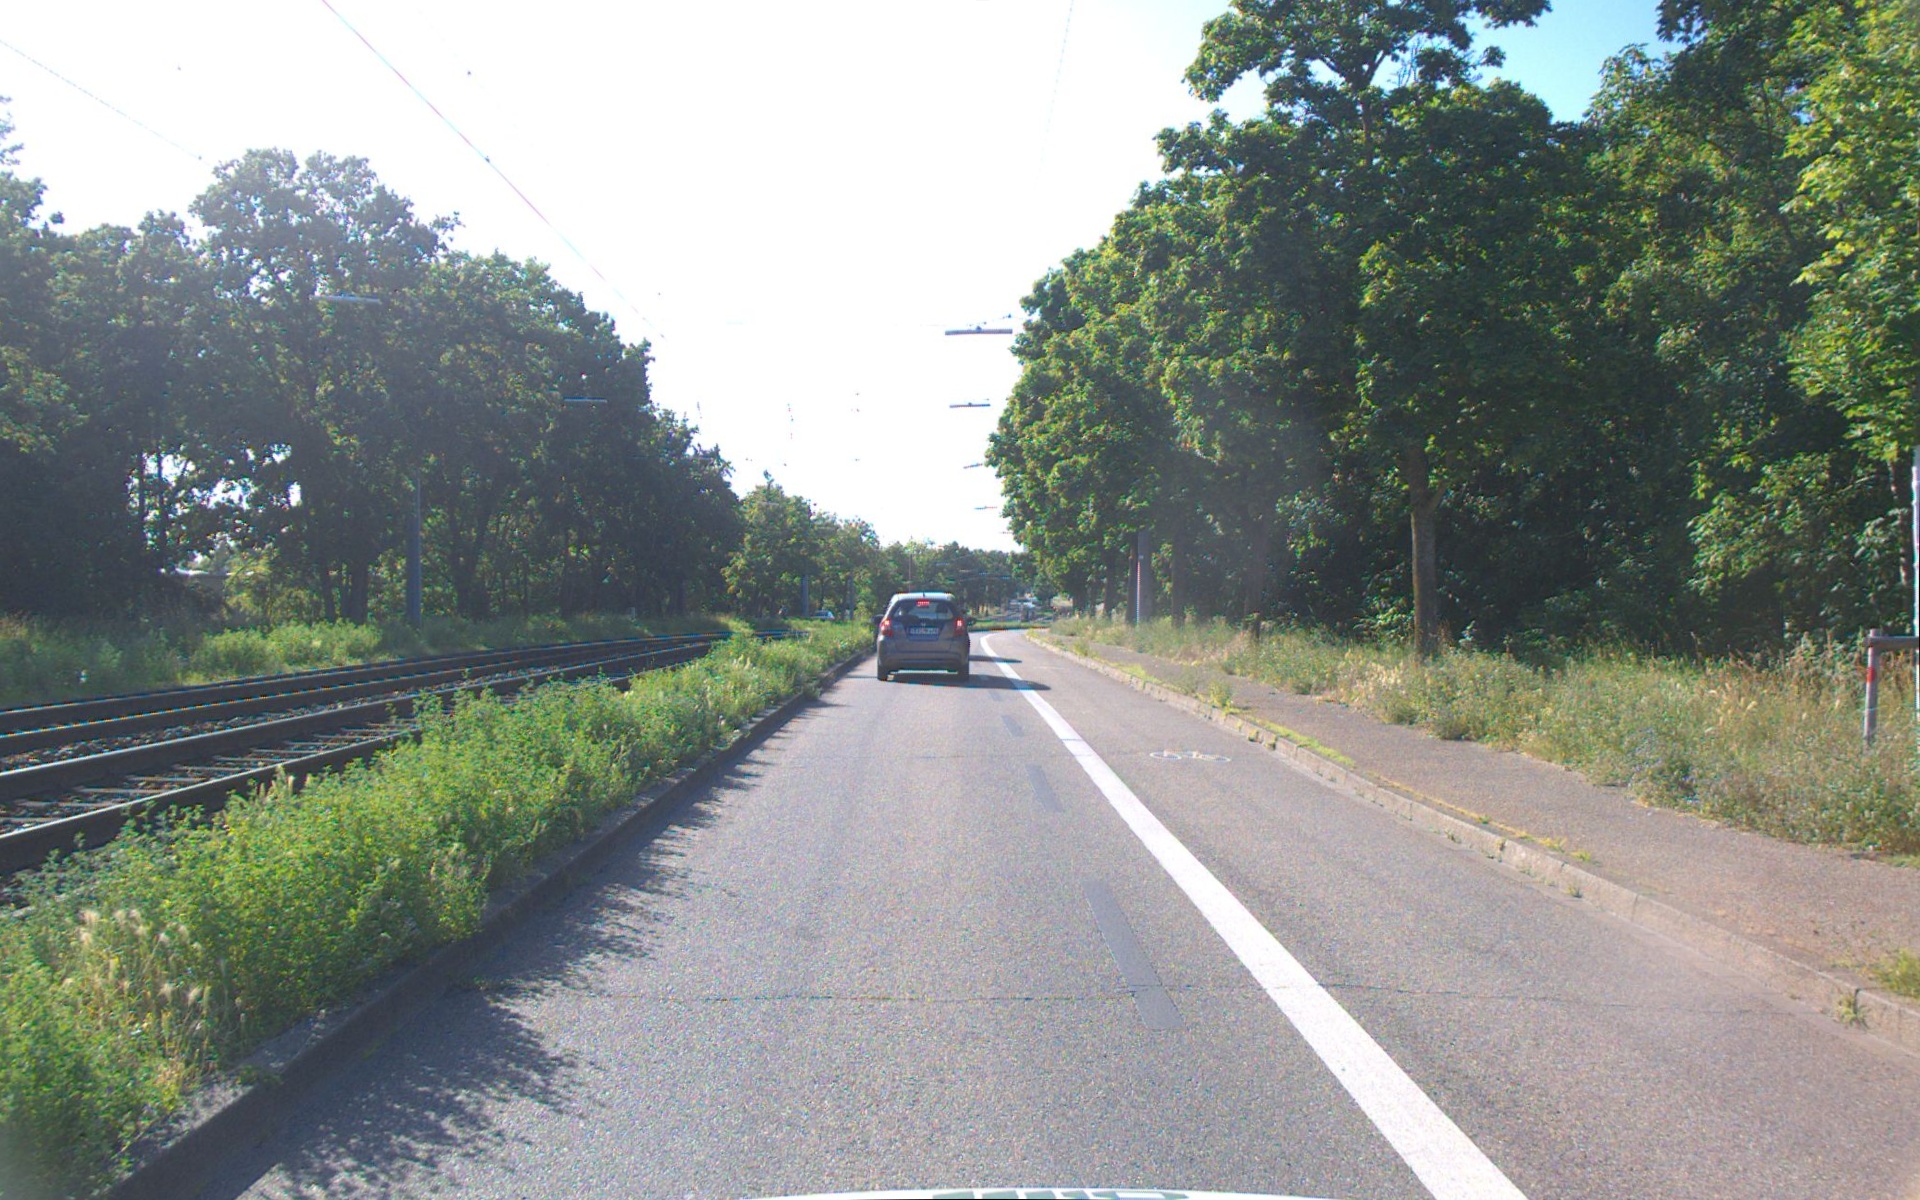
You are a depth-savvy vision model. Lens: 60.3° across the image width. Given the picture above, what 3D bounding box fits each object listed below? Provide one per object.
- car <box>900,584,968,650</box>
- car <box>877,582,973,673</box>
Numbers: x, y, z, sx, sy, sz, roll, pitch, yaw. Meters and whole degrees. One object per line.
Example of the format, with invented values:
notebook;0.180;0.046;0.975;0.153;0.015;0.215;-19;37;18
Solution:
car;-0.647;0.398;42.520;1.621;1.534;3.811;1;1;0
car;-0.608;0.468;30.429;1.636;1.534;3.811;1;0;0
